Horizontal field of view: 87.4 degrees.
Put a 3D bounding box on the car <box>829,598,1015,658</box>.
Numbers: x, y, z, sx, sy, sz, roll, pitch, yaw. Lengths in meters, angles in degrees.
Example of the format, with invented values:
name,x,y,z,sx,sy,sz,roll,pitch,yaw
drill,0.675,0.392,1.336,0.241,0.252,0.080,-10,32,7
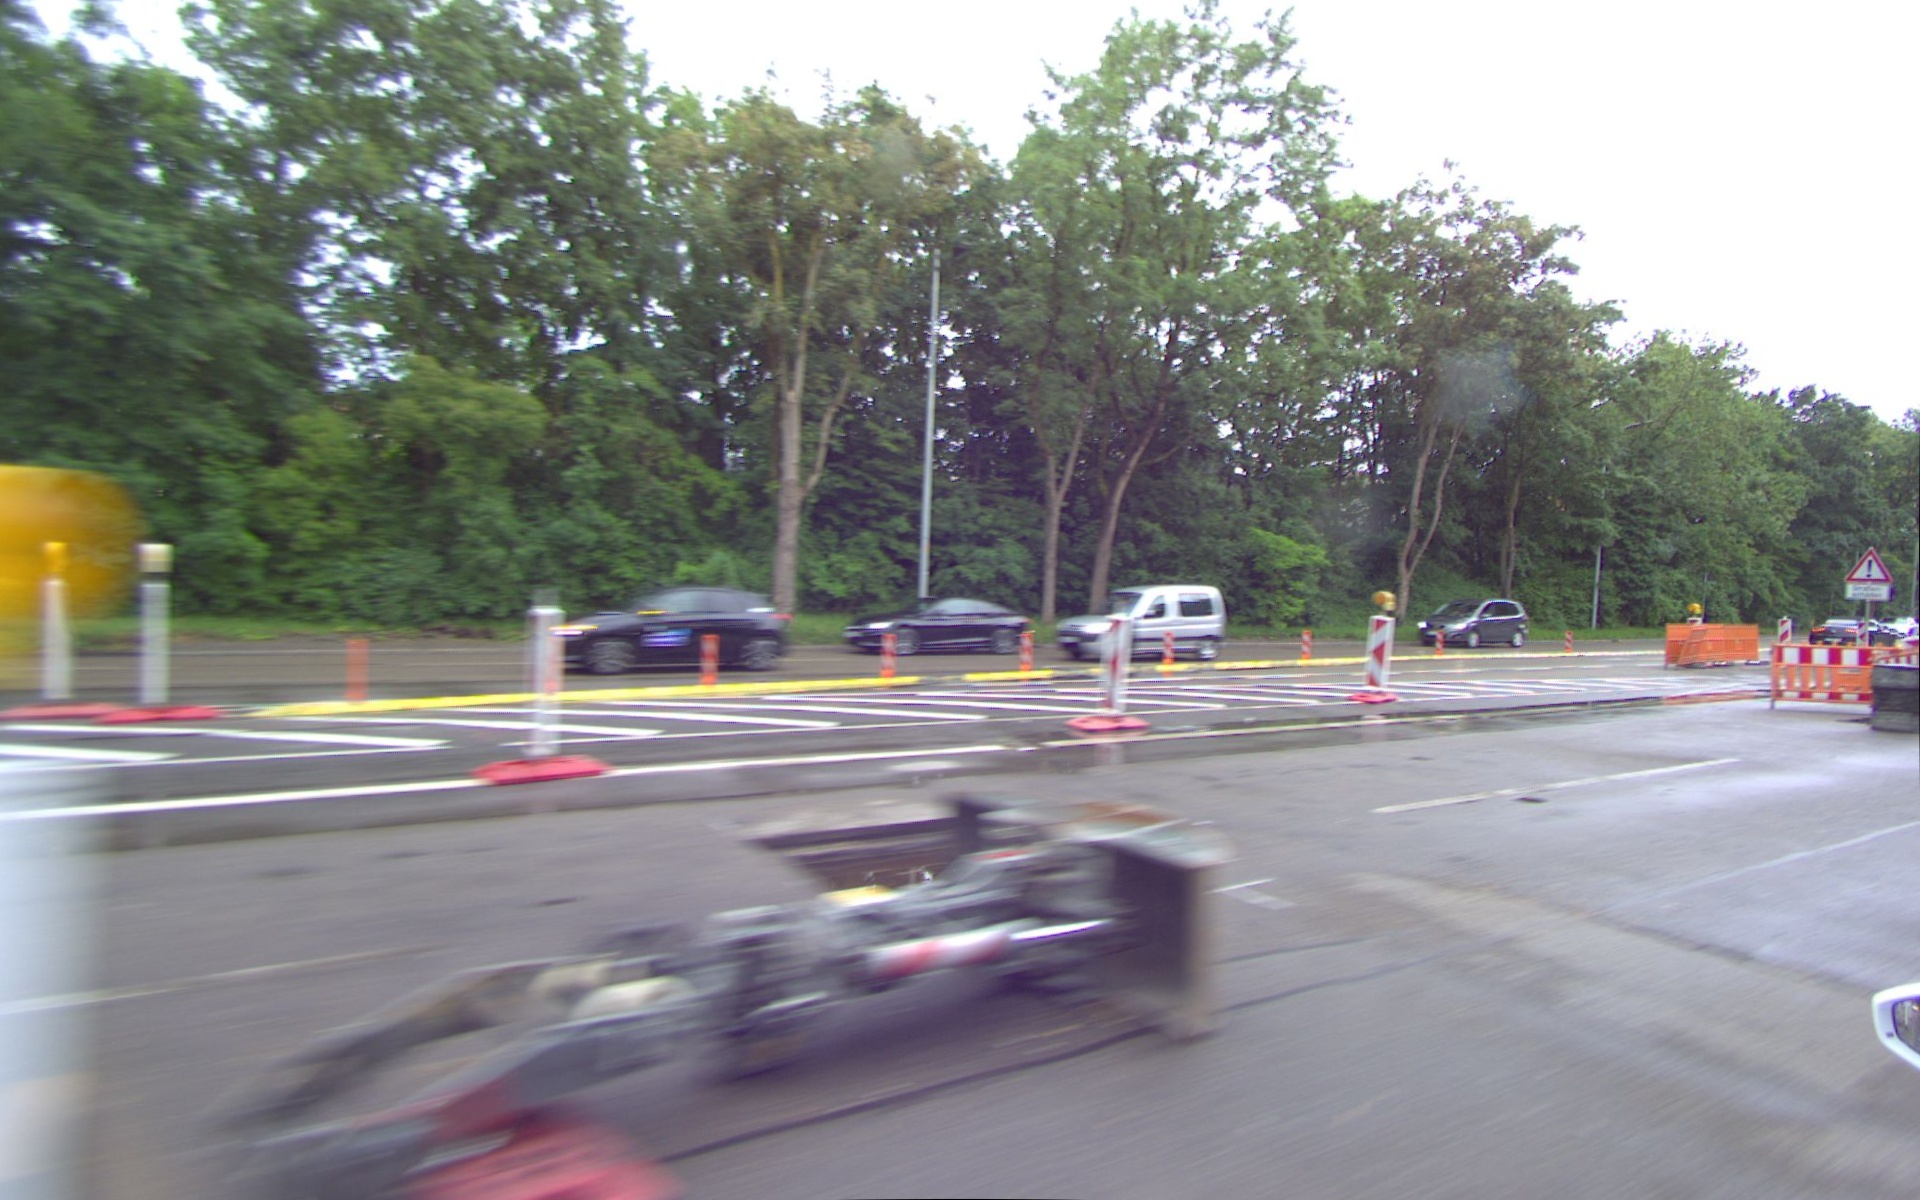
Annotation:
name,x,y,z,sx,sy,sz,roll,pitch,yaw
car,-0.842,0.630,23.349,4.183,1.280,1.419,1,1,-33

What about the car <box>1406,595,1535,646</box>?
name,x,y,z,sx,sy,sz,roll,pitch,yaw
car,18.061,0.718,35.497,4.599,1.687,1.918,1,0,-31

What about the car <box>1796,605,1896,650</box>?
name,x,y,z,sx,sy,sz,roll,pitch,yaw
car,35.158,1.046,39.834,3.954,1.512,1.852,-2,4,-31

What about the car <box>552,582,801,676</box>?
name,x,y,z,sx,sy,sz,roll,pitch,yaw
car,-4.703,0.470,16.875,3.785,1.426,1.418,1,0,-34

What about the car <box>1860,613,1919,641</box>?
name,x,y,z,sx,sy,sz,roll,pitch,yaw
car,59.991,1.712,64.535,4.599,1.687,1.918,1,0,-31

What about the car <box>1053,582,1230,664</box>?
name,x,y,z,sx,sy,sz,roll,pitch,yaw
car,4.181,0.513,22.902,4.084,1.718,1.419,1,0,-32
